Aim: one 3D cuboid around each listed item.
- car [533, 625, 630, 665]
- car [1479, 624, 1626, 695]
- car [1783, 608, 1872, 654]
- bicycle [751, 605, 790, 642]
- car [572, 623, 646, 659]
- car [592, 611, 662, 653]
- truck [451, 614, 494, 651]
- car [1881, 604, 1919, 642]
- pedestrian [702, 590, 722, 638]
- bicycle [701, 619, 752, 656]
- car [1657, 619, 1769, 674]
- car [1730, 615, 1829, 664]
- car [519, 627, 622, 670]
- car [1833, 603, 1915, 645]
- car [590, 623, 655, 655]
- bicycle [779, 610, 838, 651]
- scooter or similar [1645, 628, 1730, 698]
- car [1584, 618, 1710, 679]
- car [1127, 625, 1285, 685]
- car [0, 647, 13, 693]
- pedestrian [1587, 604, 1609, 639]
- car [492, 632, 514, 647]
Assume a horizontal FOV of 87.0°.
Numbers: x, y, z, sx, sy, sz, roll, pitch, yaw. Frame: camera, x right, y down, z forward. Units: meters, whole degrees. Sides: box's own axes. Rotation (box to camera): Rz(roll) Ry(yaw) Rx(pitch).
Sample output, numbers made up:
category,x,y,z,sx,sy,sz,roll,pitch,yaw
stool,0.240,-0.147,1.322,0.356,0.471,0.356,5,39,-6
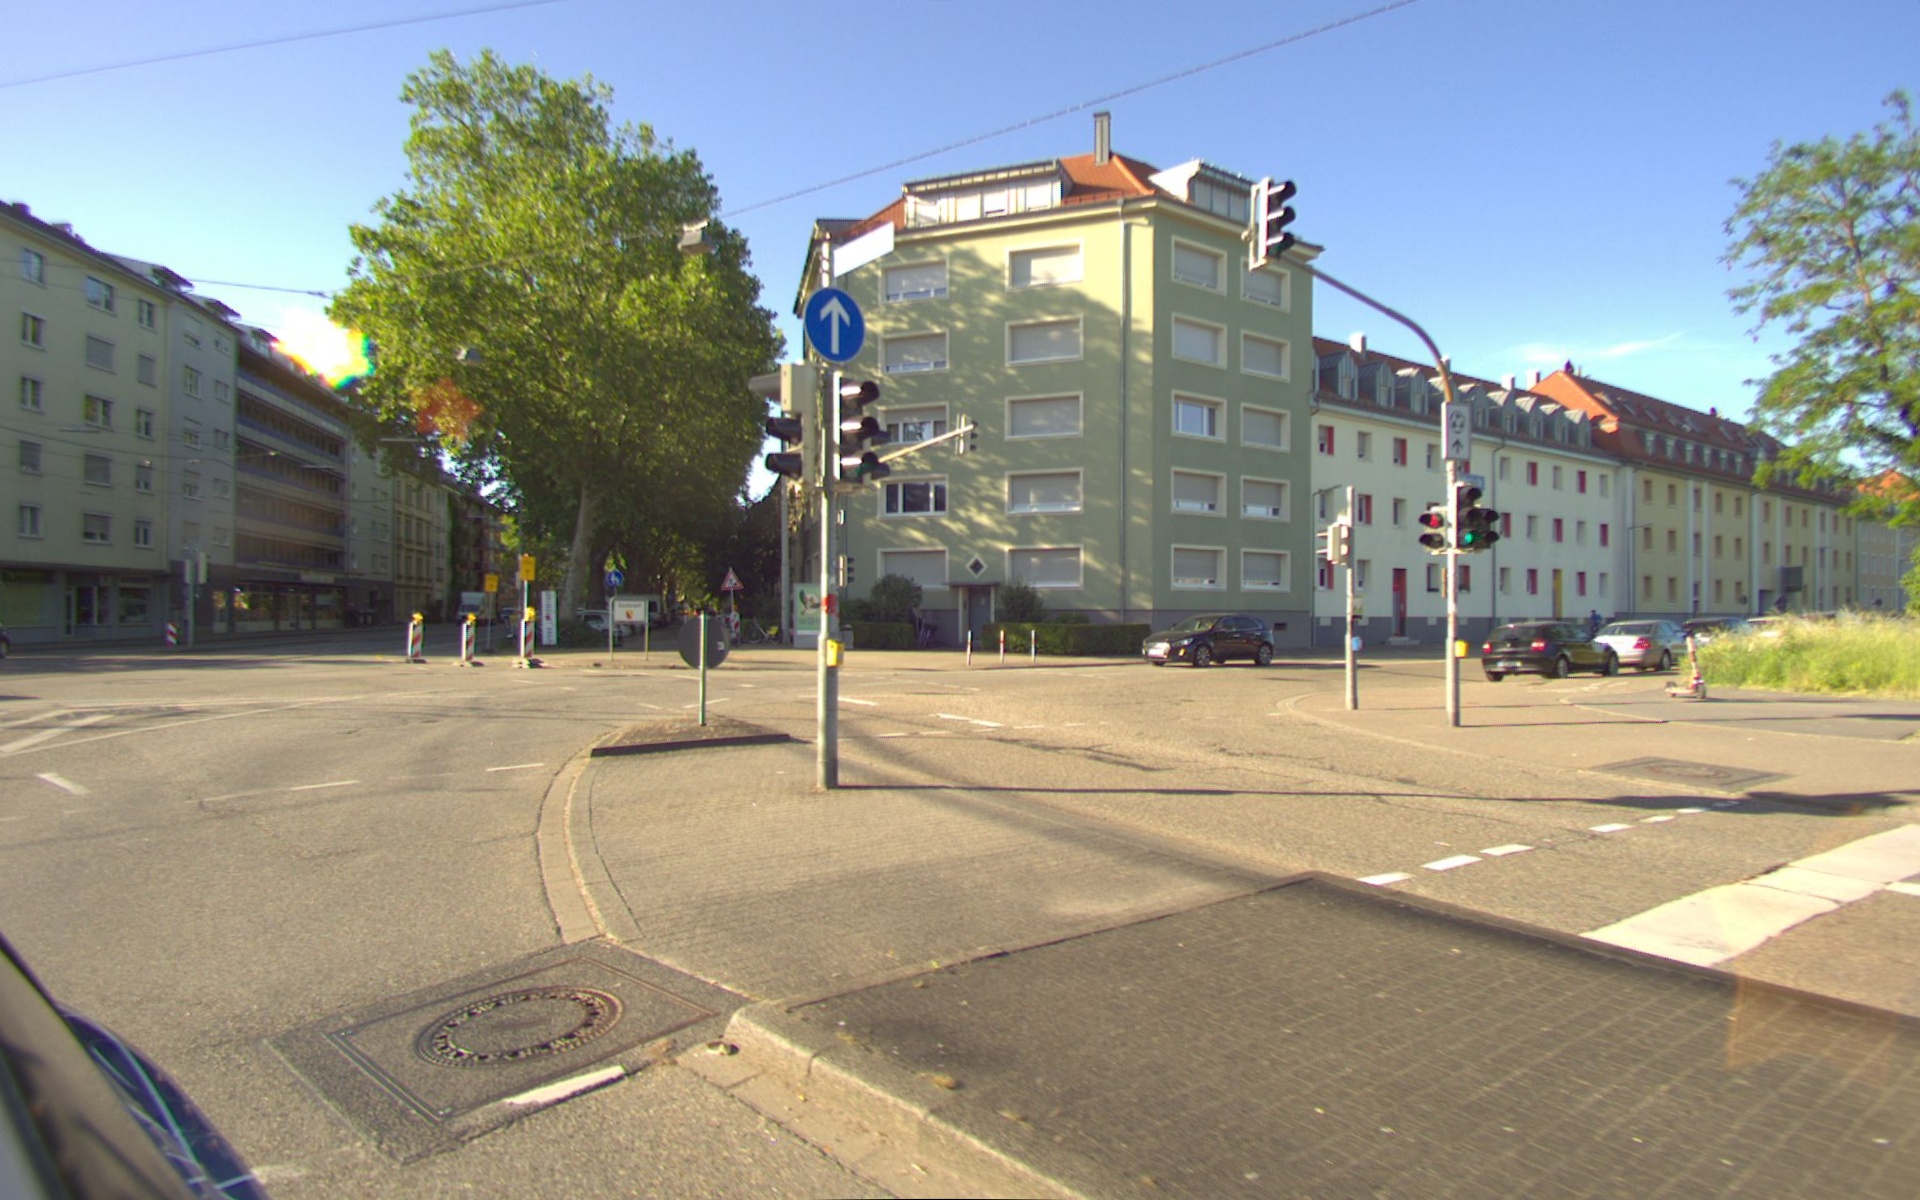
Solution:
category,x,y,z,sx,sy,sz,roll,pitch,yaw
car,-17.865,2.112,47.908,4.080,1.652,1.779,-2,2,-14
car,14.389,1.416,24.514,3.839,1.542,1.704,0,-4,-38
car,32.088,1.135,37.408,3.839,1.542,1.704,0,-4,-38
bicycle,-7.659,0.930,40.938,0.762,1.390,2.058,0,2,-34
car,-20.534,2.376,59.325,3.934,1.851,1.821,-2,2,-14
car,-22.958,2.167,69.939,4.348,2.646,1.975,-2,2,-14
truck,-45.827,2.985,95.322,2.304,2.994,8.057,-2,2,-16
car,41.429,0.977,43.725,3.839,1.542,1.704,0,-4,-38
pedestrian,-10.665,0.592,43.569,0.686,1.978,0.929,-1,2,-5
bicycle,-9.794,1.585,42.515,2.021,1.472,0.727,1,2,-6
car,23.059,1.399,30.969,3.839,1.542,1.704,0,-4,-38
car,27.750,1.322,34.230,3.839,1.542,1.704,0,-4,-38
car,-17.488,2.171,45.618,4.080,1.652,1.779,-2,2,-14
car,36.817,0.952,40.748,3.839,1.542,1.704,0,-4,-38
car,-22.338,2.570,67.112,3.934,1.851,1.821,-2,2,-14
bicycle,-5.576,1.110,37.245,2.037,1.390,0.770,2,2,19
scooter or similar,12.523,1.094,17.464,0.588,1.153,1.264,0,-5,5
car,18.905,1.308,27.806,3.839,1.542,1.704,0,-4,-38
car,6.847,1.464,28.048,4.137,1.505,1.947,0,-2,-34
car,-31.310,2.268,31.081,1.674,1.452,3.656,-2,0,-14
pedestrian,35.432,1.190,56.234,0.733,1.887,0.742,-2,5,-37
car,-50.344,4.331,111.599,1.674,1.451,3.657,-2,1,-17
